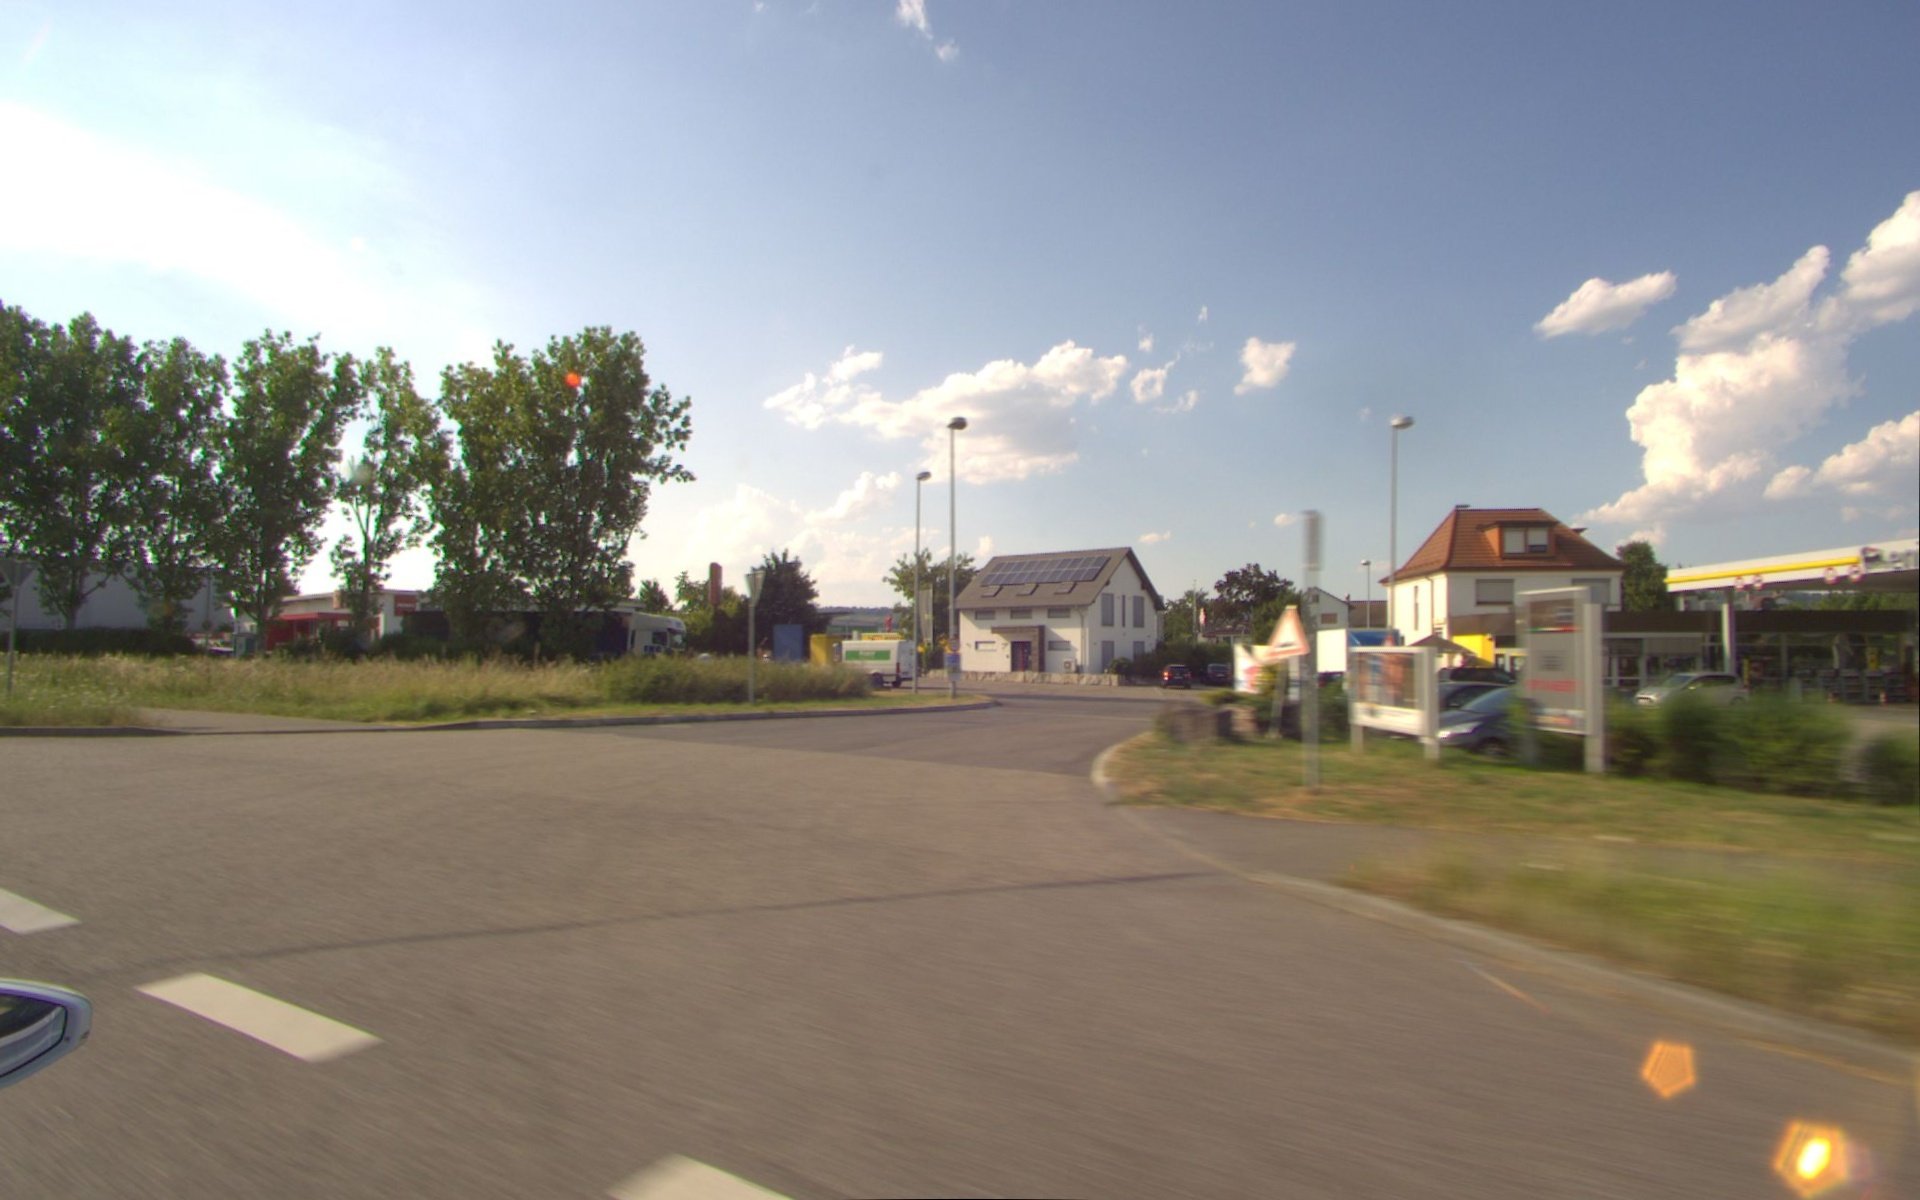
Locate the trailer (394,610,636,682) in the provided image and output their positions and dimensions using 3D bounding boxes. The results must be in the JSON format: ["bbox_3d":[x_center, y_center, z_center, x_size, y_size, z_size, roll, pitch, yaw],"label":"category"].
[{"bbox_3d":[-25.604,2.652,57.667,13.458,3.961,2.253,0,-4,8],"label":"trailer"}]

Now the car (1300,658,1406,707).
[{"bbox_3d":[17.285,3.638,44.183,4.009,2.038,1.771,1,-3,4],"label":"car"}]

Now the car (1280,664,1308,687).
[{"bbox_3d":[23.778,5.382,71.358,1.562,1.594,3.557,0,-5,12],"label":"car"}]

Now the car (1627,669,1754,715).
[{"bbox_3d":[28.772,3.613,39.522,3.821,1.739,1.758,1,-3,-5],"label":"car"}]

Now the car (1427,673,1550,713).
[{"bbox_3d":[22.883,4.046,43.495,4.336,1.653,1.853,1,-5,0],"label":"car"}]

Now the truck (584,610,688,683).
[{"bbox_3d":[-18.333,2.668,56.880,5.019,3.961,2.254,0,-4,3],"label":"truck"}]

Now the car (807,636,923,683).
[{"bbox_3d":[-5.574,3.499,58.208,6.722,2.548,2.228,-2,-6,32],"label":"car"}]

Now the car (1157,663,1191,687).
[{"bbox_3d":[13.464,4.742,62.828,1.817,1.410,3.597,-1,-5,17],"label":"car"}]

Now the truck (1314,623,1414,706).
[{"bbox_3d":[19.803,3.294,49.600,2.714,3.731,8.021,0,-5,9],"label":"truck"}]

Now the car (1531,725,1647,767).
[{"bbox_3d":[7.481,1.730,11.919,1.063,0.454,0.606,2,-5,-16],"label":"car"}]

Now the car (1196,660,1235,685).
[{"bbox_3d":[17.898,5.077,70.074,1.822,1.647,3.587,-2,-6,29],"label":"car"}]

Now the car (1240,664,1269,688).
[{"bbox_3d":[21.438,5.575,72.996,1.670,1.699,3.601,0,-5,10],"label":"car"}]

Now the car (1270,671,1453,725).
[{"bbox_3d":[9.762,2.384,24.510,3.840,1.216,1.602,1,-4,-3],"label":"car"}]
